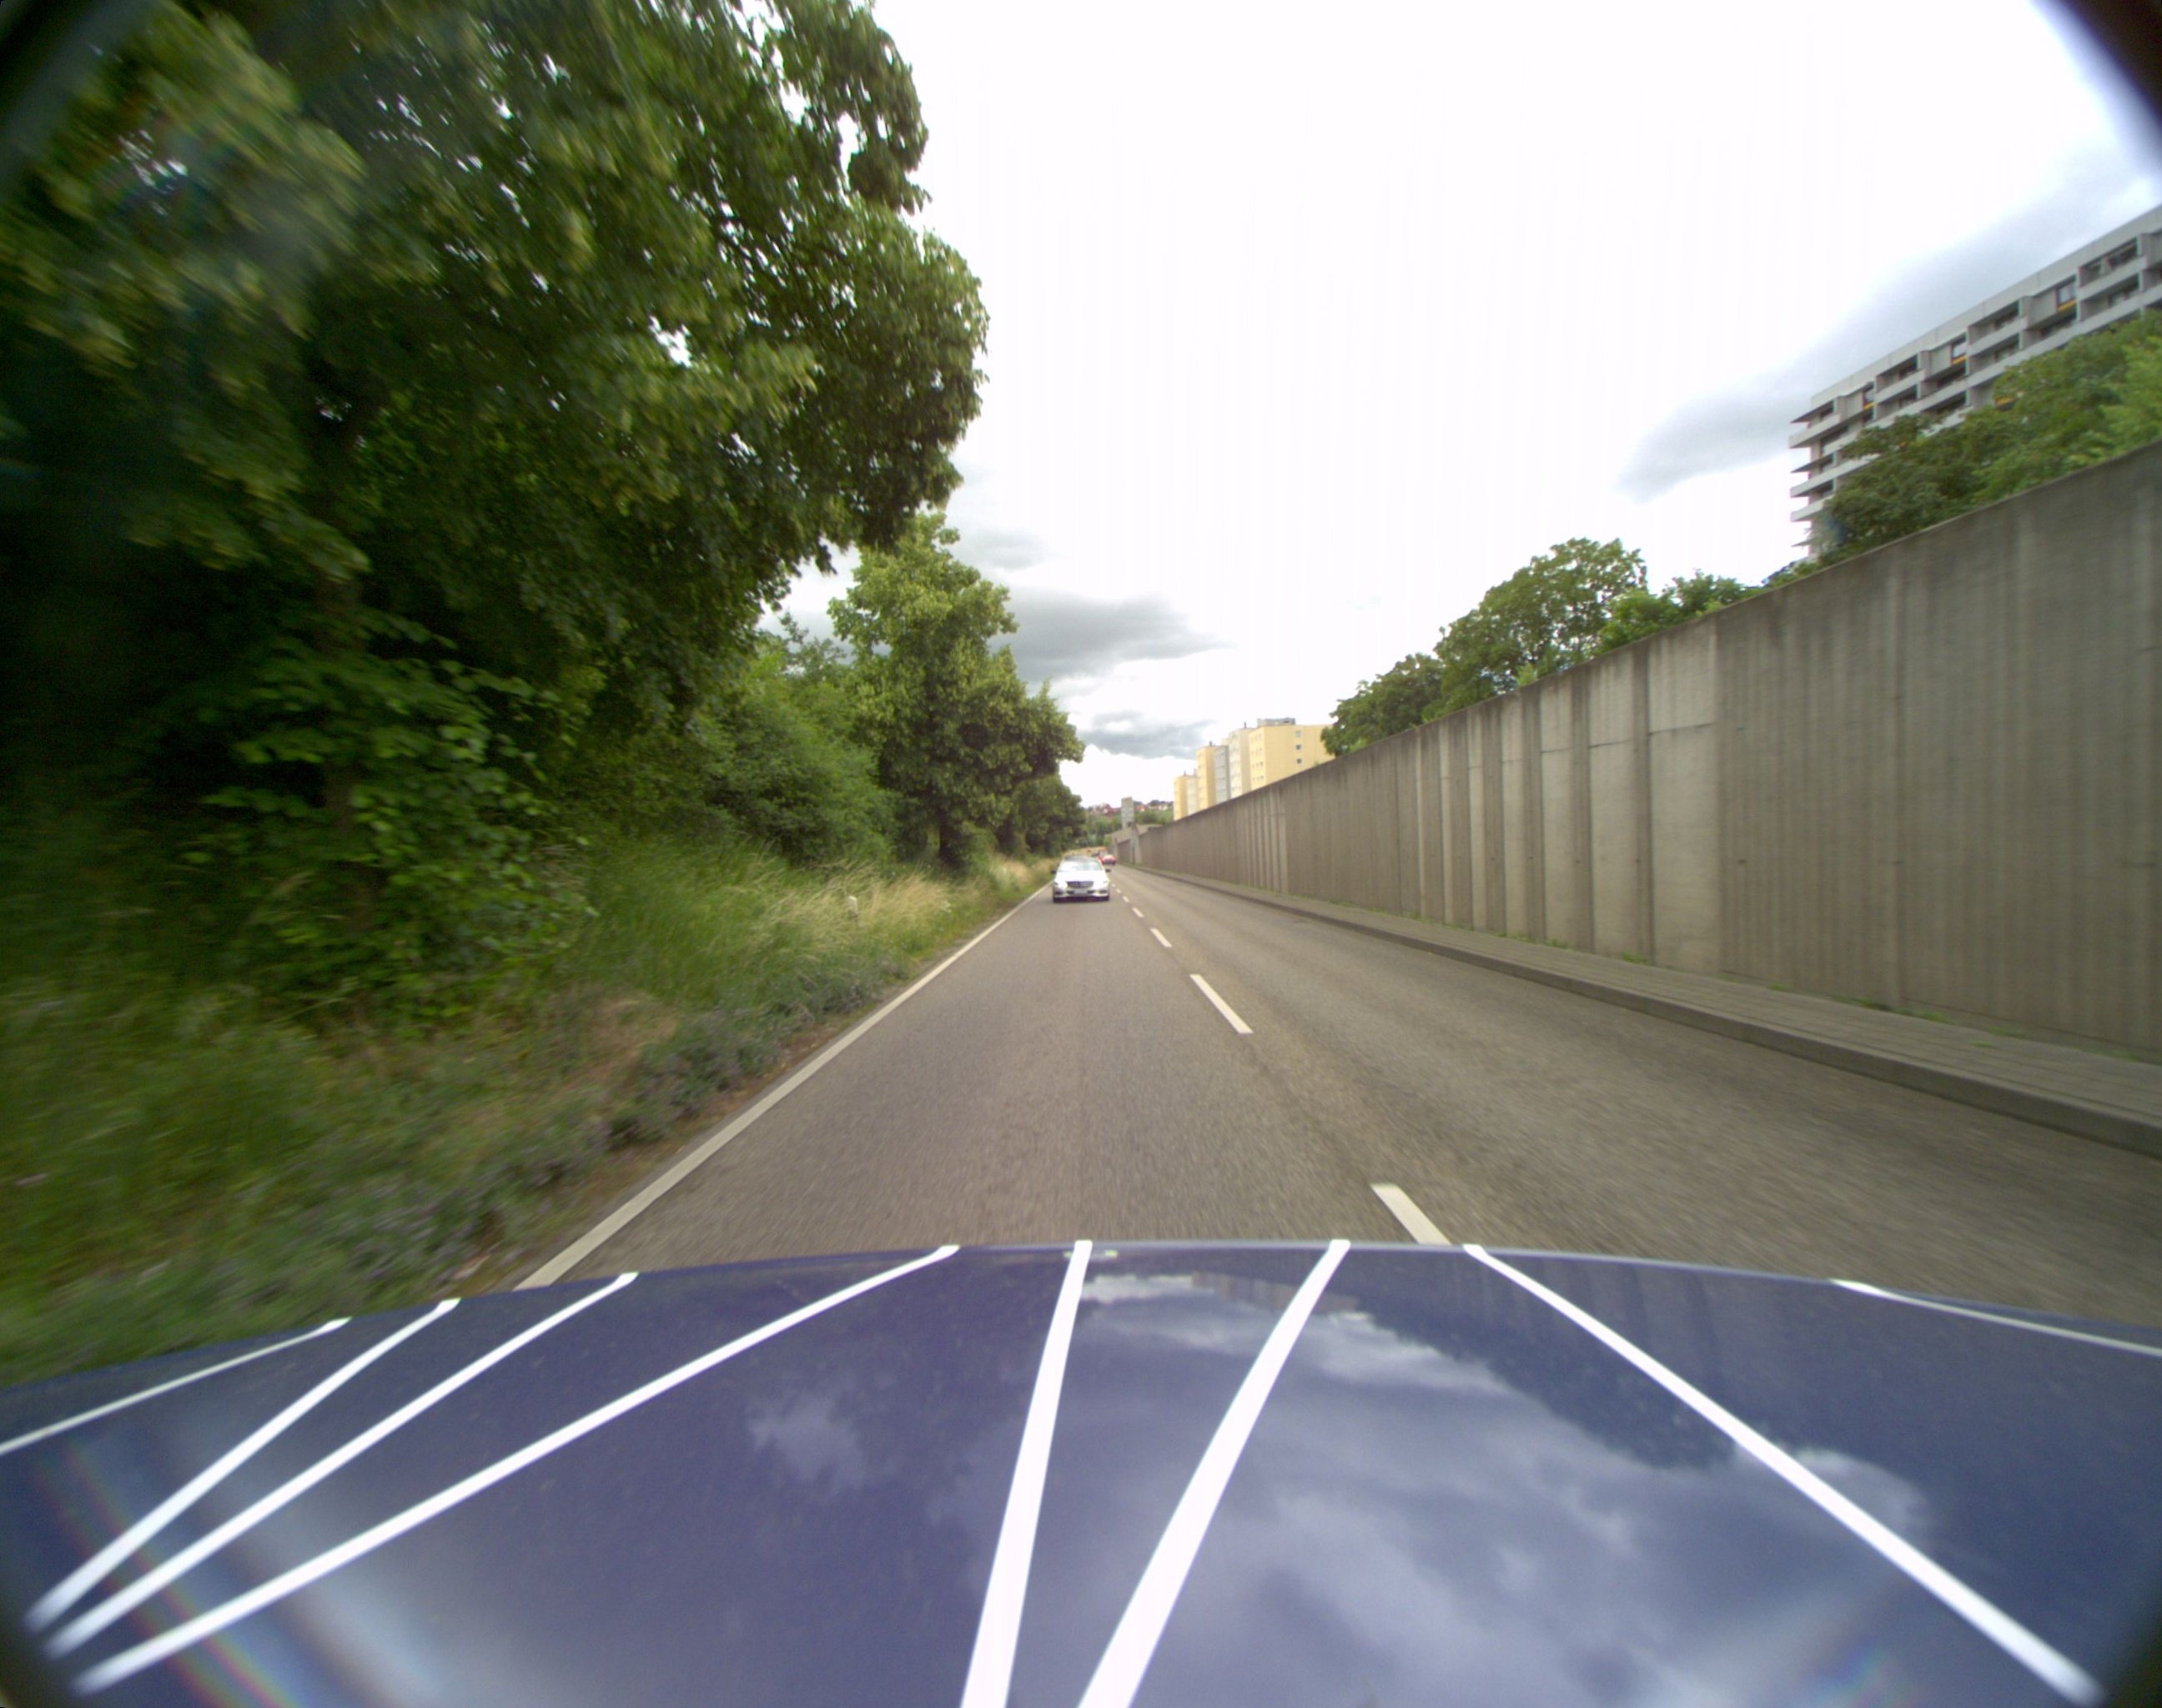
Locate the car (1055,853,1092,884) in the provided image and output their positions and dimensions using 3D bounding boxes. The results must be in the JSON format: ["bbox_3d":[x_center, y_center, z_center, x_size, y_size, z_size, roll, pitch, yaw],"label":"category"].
[{"bbox_3d":[-0.359,0.755,41.079,1.878,1.459,3.999,-2,1,1],"label":"car"}]

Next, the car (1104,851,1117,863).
[{"bbox_3d":[4.039,0.406,104.334,1.639,1.478,3.493,-2,0,1],"label":"car"}]

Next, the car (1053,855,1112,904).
[{"bbox_3d":[0.065,0.831,26.455,1.842,1.499,4.160,-2,0,1],"label":"car"}]

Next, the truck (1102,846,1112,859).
[{"bbox_3d":[4.769,-0.317,139.134,1.593,2.210,4.000,-2,1,1],"label":"truck"}]
